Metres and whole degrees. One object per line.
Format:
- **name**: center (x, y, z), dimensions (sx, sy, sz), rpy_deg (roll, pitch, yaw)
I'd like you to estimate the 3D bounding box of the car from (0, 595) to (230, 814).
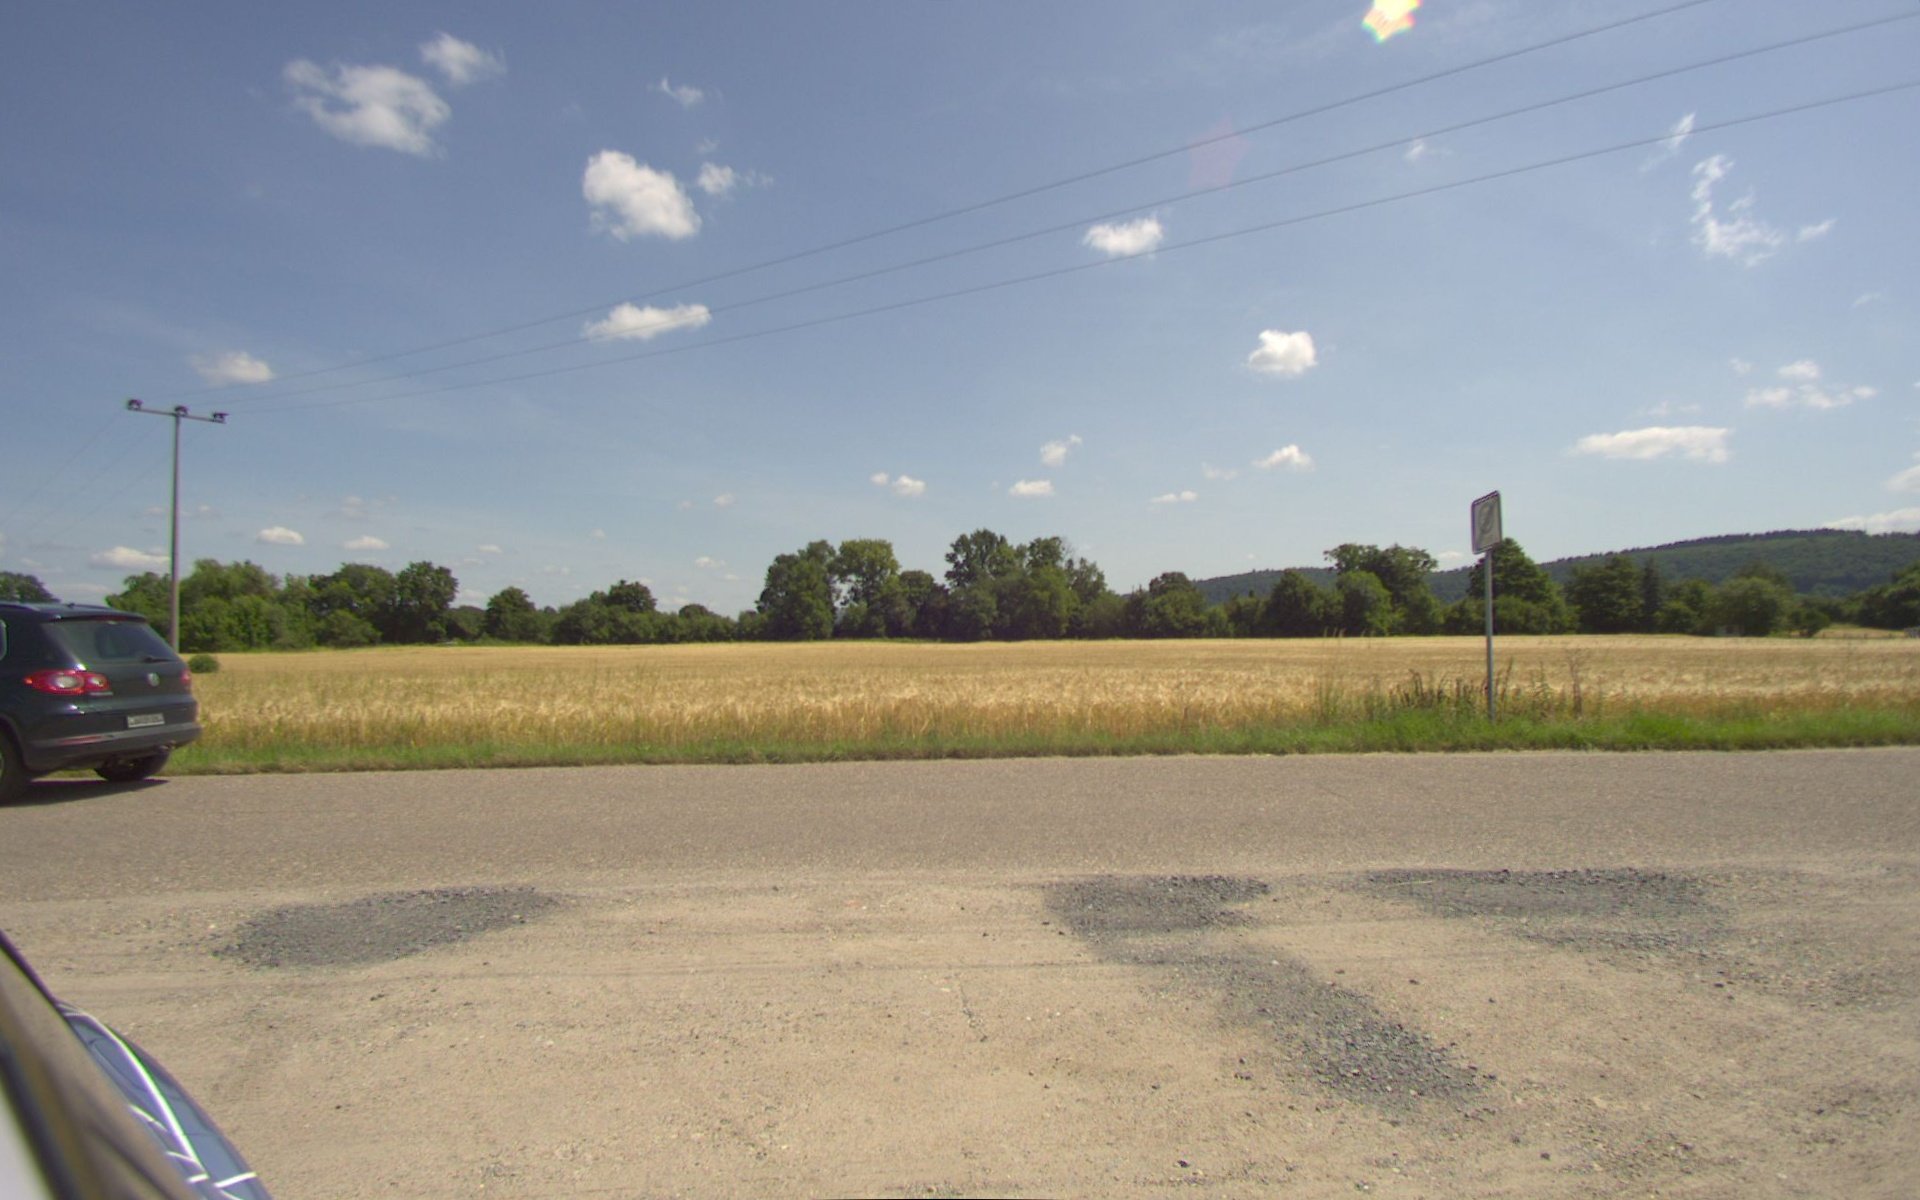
- **car**: center (-9.013, 0.851, 8.681), dimensions (4.192, 1.692, 1.750), rpy_deg (0, -2, -2)
